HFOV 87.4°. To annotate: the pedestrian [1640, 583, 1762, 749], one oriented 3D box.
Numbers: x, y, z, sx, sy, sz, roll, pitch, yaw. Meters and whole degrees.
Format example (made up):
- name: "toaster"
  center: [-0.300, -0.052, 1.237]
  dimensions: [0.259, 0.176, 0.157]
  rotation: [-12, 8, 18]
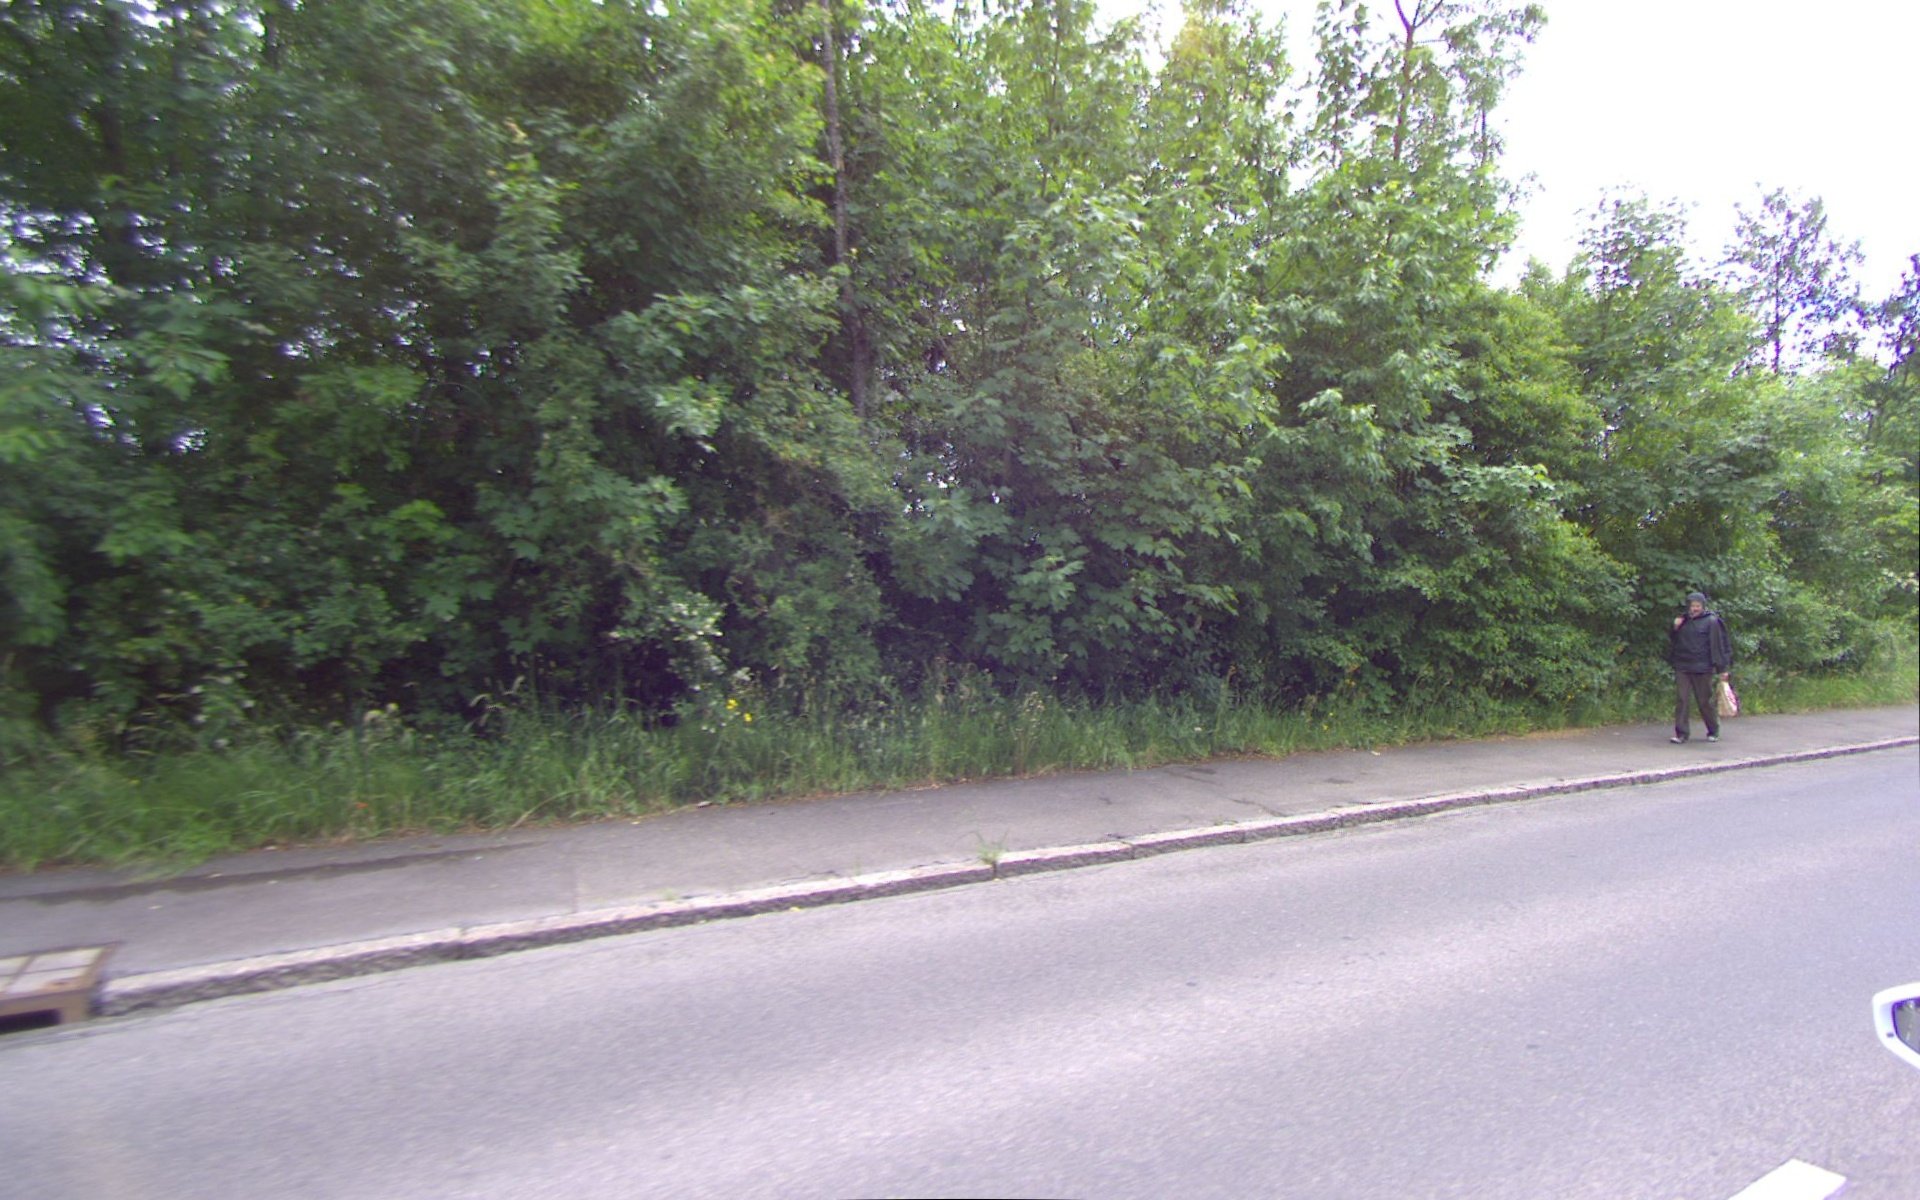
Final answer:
- name: "pedestrian"
  center: [8.514, 0.719, 11.559]
  dimensions: [0.781, 1.794, 0.862]
  rotation: [0, 2, -34]
